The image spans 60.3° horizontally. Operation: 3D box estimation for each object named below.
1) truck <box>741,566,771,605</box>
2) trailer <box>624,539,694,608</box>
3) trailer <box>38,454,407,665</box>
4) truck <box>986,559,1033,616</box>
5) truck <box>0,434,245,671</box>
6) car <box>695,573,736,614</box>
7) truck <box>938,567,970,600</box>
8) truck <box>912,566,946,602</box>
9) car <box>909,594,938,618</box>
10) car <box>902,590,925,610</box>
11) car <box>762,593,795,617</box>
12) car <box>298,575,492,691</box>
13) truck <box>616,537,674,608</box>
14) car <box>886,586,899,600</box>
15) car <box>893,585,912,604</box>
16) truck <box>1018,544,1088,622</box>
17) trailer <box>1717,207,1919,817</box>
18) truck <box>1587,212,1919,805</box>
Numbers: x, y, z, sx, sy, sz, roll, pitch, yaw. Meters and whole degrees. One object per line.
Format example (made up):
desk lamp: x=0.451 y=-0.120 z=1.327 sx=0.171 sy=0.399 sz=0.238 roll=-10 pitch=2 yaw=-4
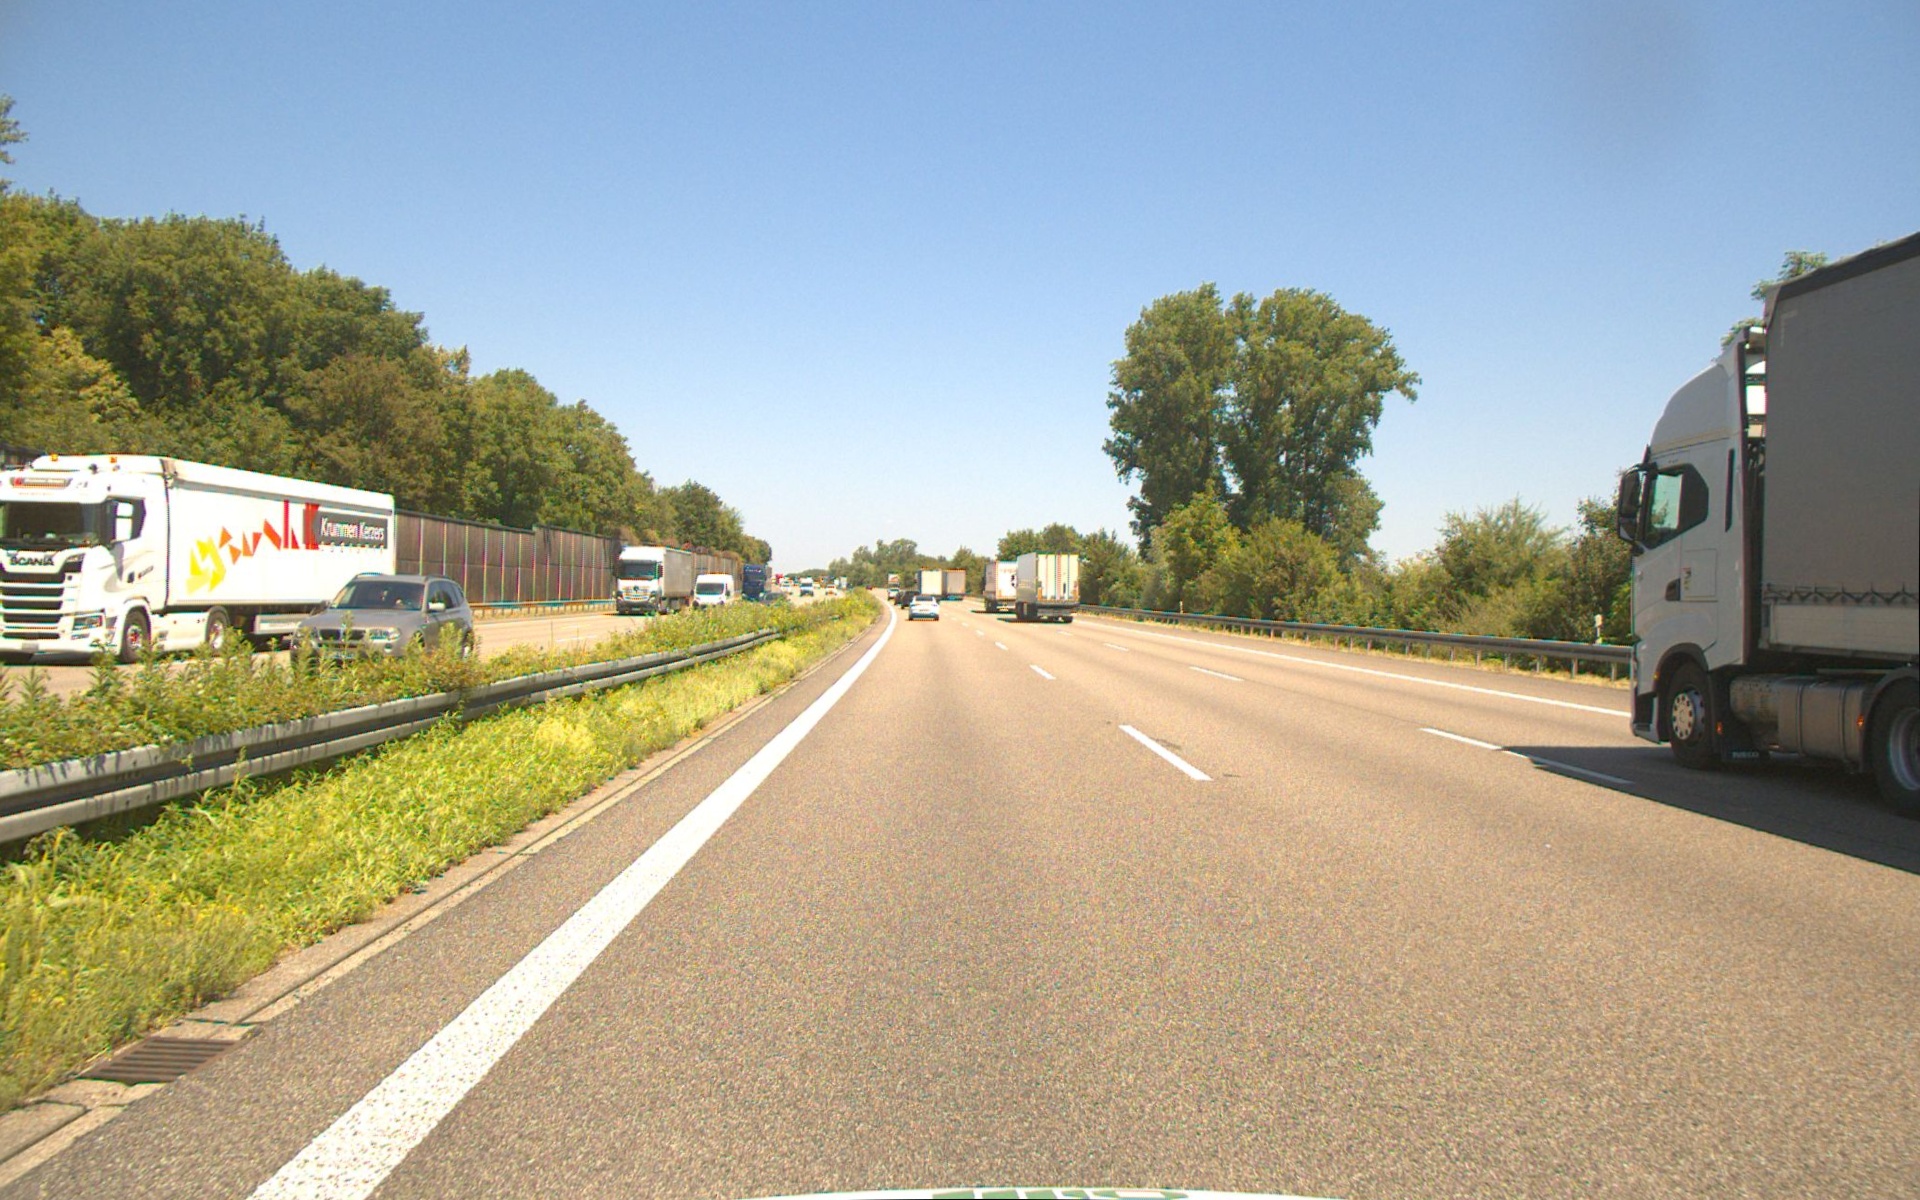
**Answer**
truck: x=-22.855 y=-1.573 z=185.756 sx=2.558 sy=4.200 sz=10.274 roll=1 pitch=0 yaw=-3
trailer: x=-19.259 y=-1.608 z=106.563 sx=2.454 sy=4.104 sz=13.415 roll=1 pitch=0 yaw=-2
trailer: x=-17.067 y=-0.774 z=40.087 sx=2.698 sy=4.146 sz=14.385 roll=1 pitch=0 yaw=-1
truck: x=3.968 y=-0.932 z=134.727 sx=3.291 sy=4.386 sz=10.826 roll=1 pitch=0 yaw=-1
truck: x=-16.909 y=-0.853 z=33.001 sx=2.675 sy=4.266 sz=6.034 roll=1 pitch=0 yaw=-1
car: x=-15.118 y=-0.414 z=102.597 sx=2.039 sy=2.443 sz=6.037 roll=1 pitch=0 yaw=-4
truck: x=-0.914 y=-2.305 z=232.948 sx=3.755 sy=4.386 sz=11.544 roll=1 pitch=0 yaw=-4
truck: x=-4.072 y=-2.032 z=212.814 sx=3.510 sy=4.386 sz=12.176 roll=1 pitch=0 yaw=-5
car: x=-2.189 y=0.369 z=99.187 sx=1.680 sy=1.393 sz=3.374 roll=1 pitch=0 yaw=-1
car: x=-4.162 y=-0.019 z=149.514 sx=1.953 sy=1.803 sz=4.000 roll=1 pitch=0 yaw=0
car: x=-11.422 y=0.282 z=103.994 sx=1.724 sy=1.453 sz=3.934 roll=1 pitch=0 yaw=-2
car: x=-8.823 y=0.479 z=26.180 sx=1.730 sy=1.680 sz=4.038 roll=1 pitch=0 yaw=-1
truck: x=-19.031 y=-1.625 z=100.231 sx=2.452 sy=4.126 sz=6.359 roll=1 pitch=0 yaw=-2
car: x=-8.971 y=-0.920 z=220.322 sx=1.689 sy=1.814 sz=3.999 roll=1 pitch=0 yaw=-1
car: x=-6.162 y=-0.589 z=176.475 sx=1.953 sy=2.049 sz=3.999 roll=1 pitch=0 yaw=-1
truck: x=5.468 y=-0.949 z=99.382 sx=3.421 sy=4.386 sz=10.986 roll=1 pitch=0 yaw=-1
trailer: x=8.174 y=-0.629 z=7.709 sx=2.571 sy=4.335 sz=14.056 roll=1 pitch=0 yaw=-1
truck: x=8.035 y=-0.647 z=14.931 sx=2.553 sy=4.362 sz=5.434 roll=1 pitch=0 yaw=-1
